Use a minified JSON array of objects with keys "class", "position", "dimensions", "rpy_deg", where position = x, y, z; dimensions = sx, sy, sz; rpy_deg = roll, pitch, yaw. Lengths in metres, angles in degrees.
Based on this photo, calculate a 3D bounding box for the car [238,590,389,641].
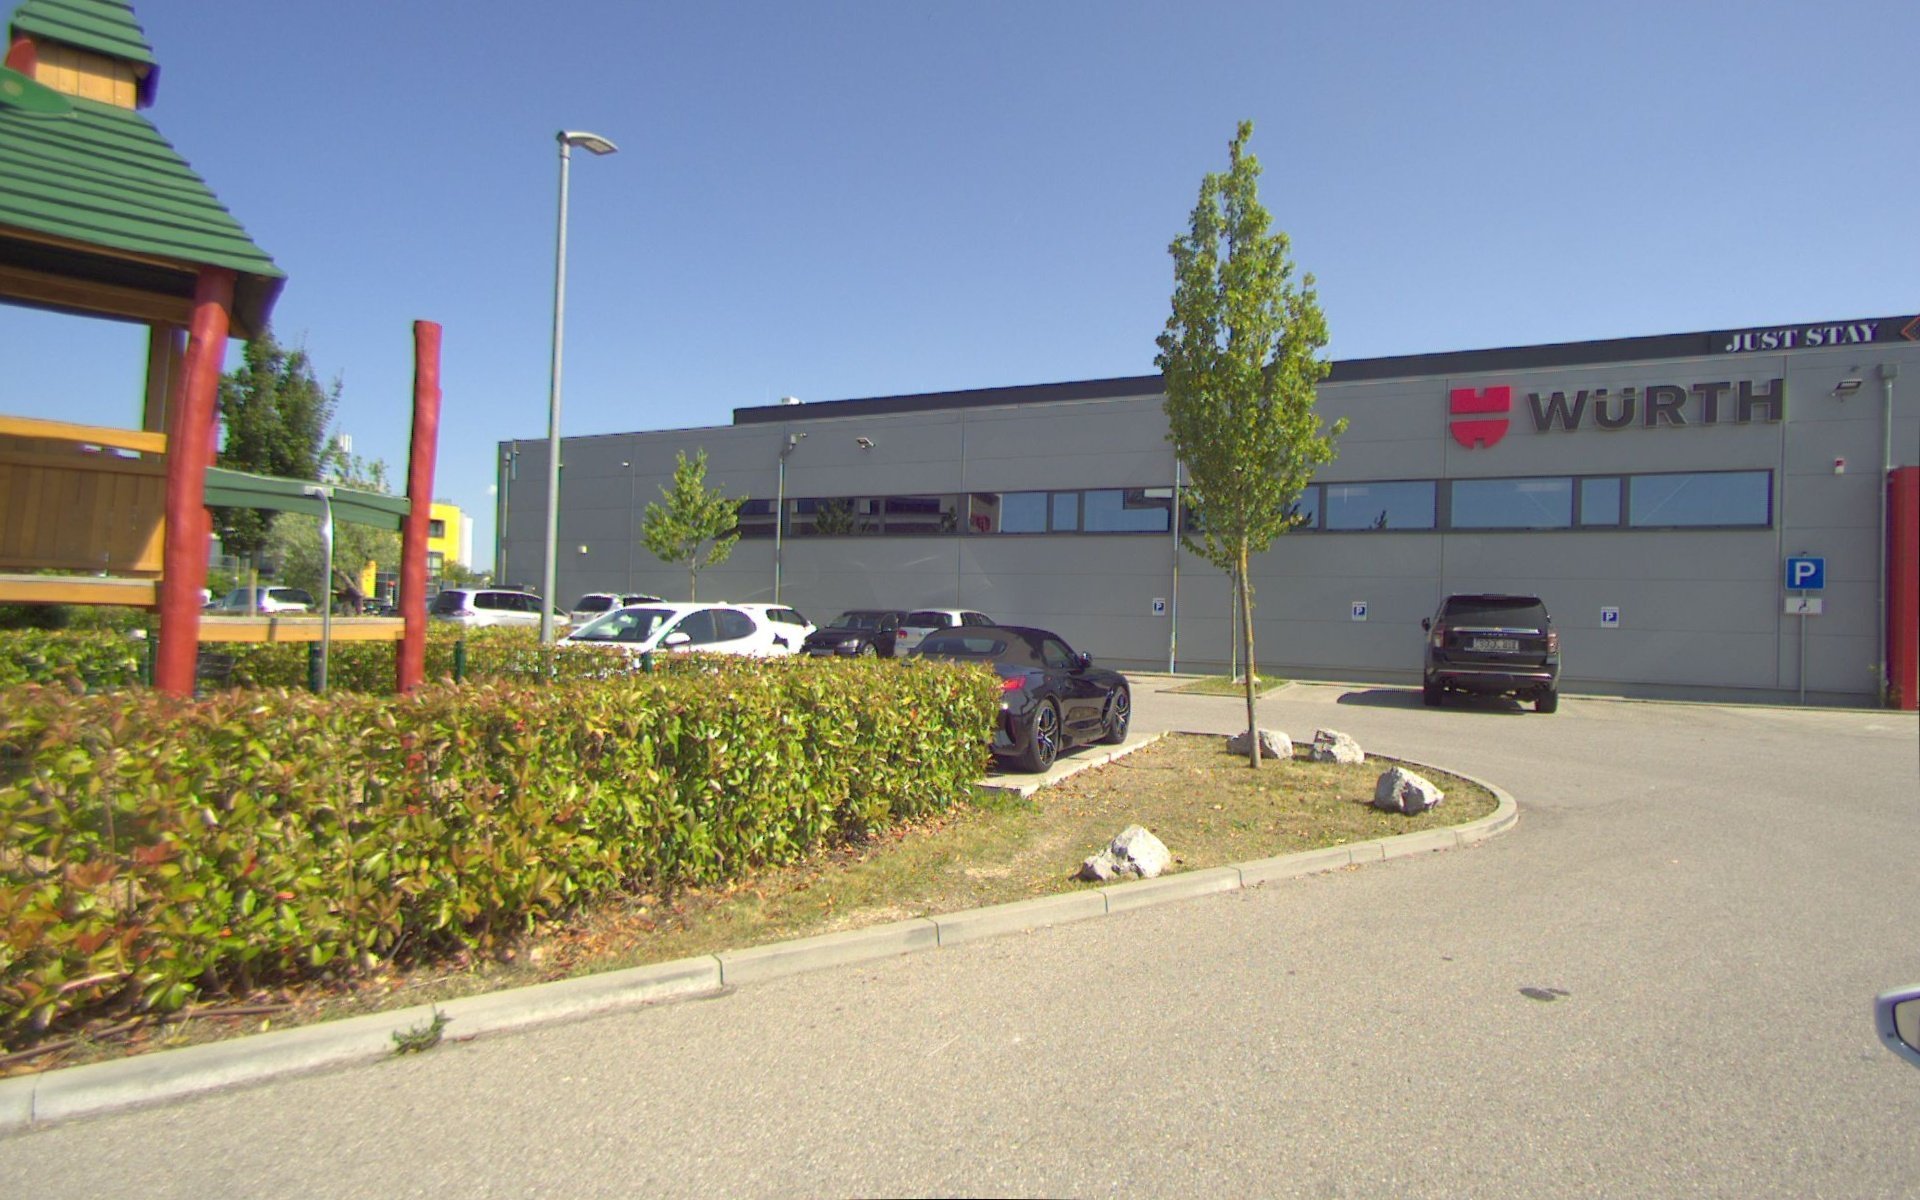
[{"class":"car","position":[-21.642,0.518,33.764],"dimensions":[1.705,1.588,3.946],"rpy_deg":[1,0,27]}]

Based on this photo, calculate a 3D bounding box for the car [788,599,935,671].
[{"class":"car","position":[-2.339,0.822,24.990],"dimensions":[1.849,1.607,4.106],"rpy_deg":[1,0,24]}]

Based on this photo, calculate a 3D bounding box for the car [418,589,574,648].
[{"class":"car","position":[-13.546,0.531,29.566],"dimensions":[1.705,1.588,3.946],"rpy_deg":[1,0,27]}]

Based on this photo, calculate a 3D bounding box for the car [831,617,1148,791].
[{"class":"car","position":[0.570,0.886,10.571],"dimensions":[1.832,1.380,4.374],"rpy_deg":[1,0,24]}]

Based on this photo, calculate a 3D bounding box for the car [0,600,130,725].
[{"class":"car","position":[-11.291,0.635,10.456],"dimensions":[1.622,1.326,3.826],"rpy_deg":[0,-1,38]}]

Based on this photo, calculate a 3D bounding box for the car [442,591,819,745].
[{"class":"car","position":[-3.856,0.723,12.586],"dimensions":[1.918,1.551,4.370],"rpy_deg":[1,0,28]}]

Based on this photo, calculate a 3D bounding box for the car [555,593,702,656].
[{"class":"car","position":[-9.165,0.658,28.103],"dimensions":[1.704,1.588,3.949],"rpy_deg":[1,0,24]}]

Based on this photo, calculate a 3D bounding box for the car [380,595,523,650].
[{"class":"car","position":[-15.637,0.669,31.052],"dimensions":[1.615,1.588,3.678],"rpy_deg":[1,0,29]}]

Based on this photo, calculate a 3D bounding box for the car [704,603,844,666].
[{"class":"car","position":[-4.799,0.864,26.503],"dimensions":[1.704,1.507,3.949],"rpy_deg":[1,0,24]}]

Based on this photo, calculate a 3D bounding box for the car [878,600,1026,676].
[{"class":"car","position":[-0.076,0.855,24.051],"dimensions":[1.916,1.607,4.374],"rpy_deg":[1,0,24]}]

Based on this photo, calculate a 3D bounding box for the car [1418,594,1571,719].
[{"class":"car","position":[9.427,0.903,18.094],"dimensions":[2.038,1.905,4.876],"rpy_deg":[1,0,24]}]

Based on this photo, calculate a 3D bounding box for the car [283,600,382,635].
[{"class":"car","position":[-29.887,0.832,47.936],"dimensions":[1.615,1.588,3.678],"rpy_deg":[1,0,29]}]
